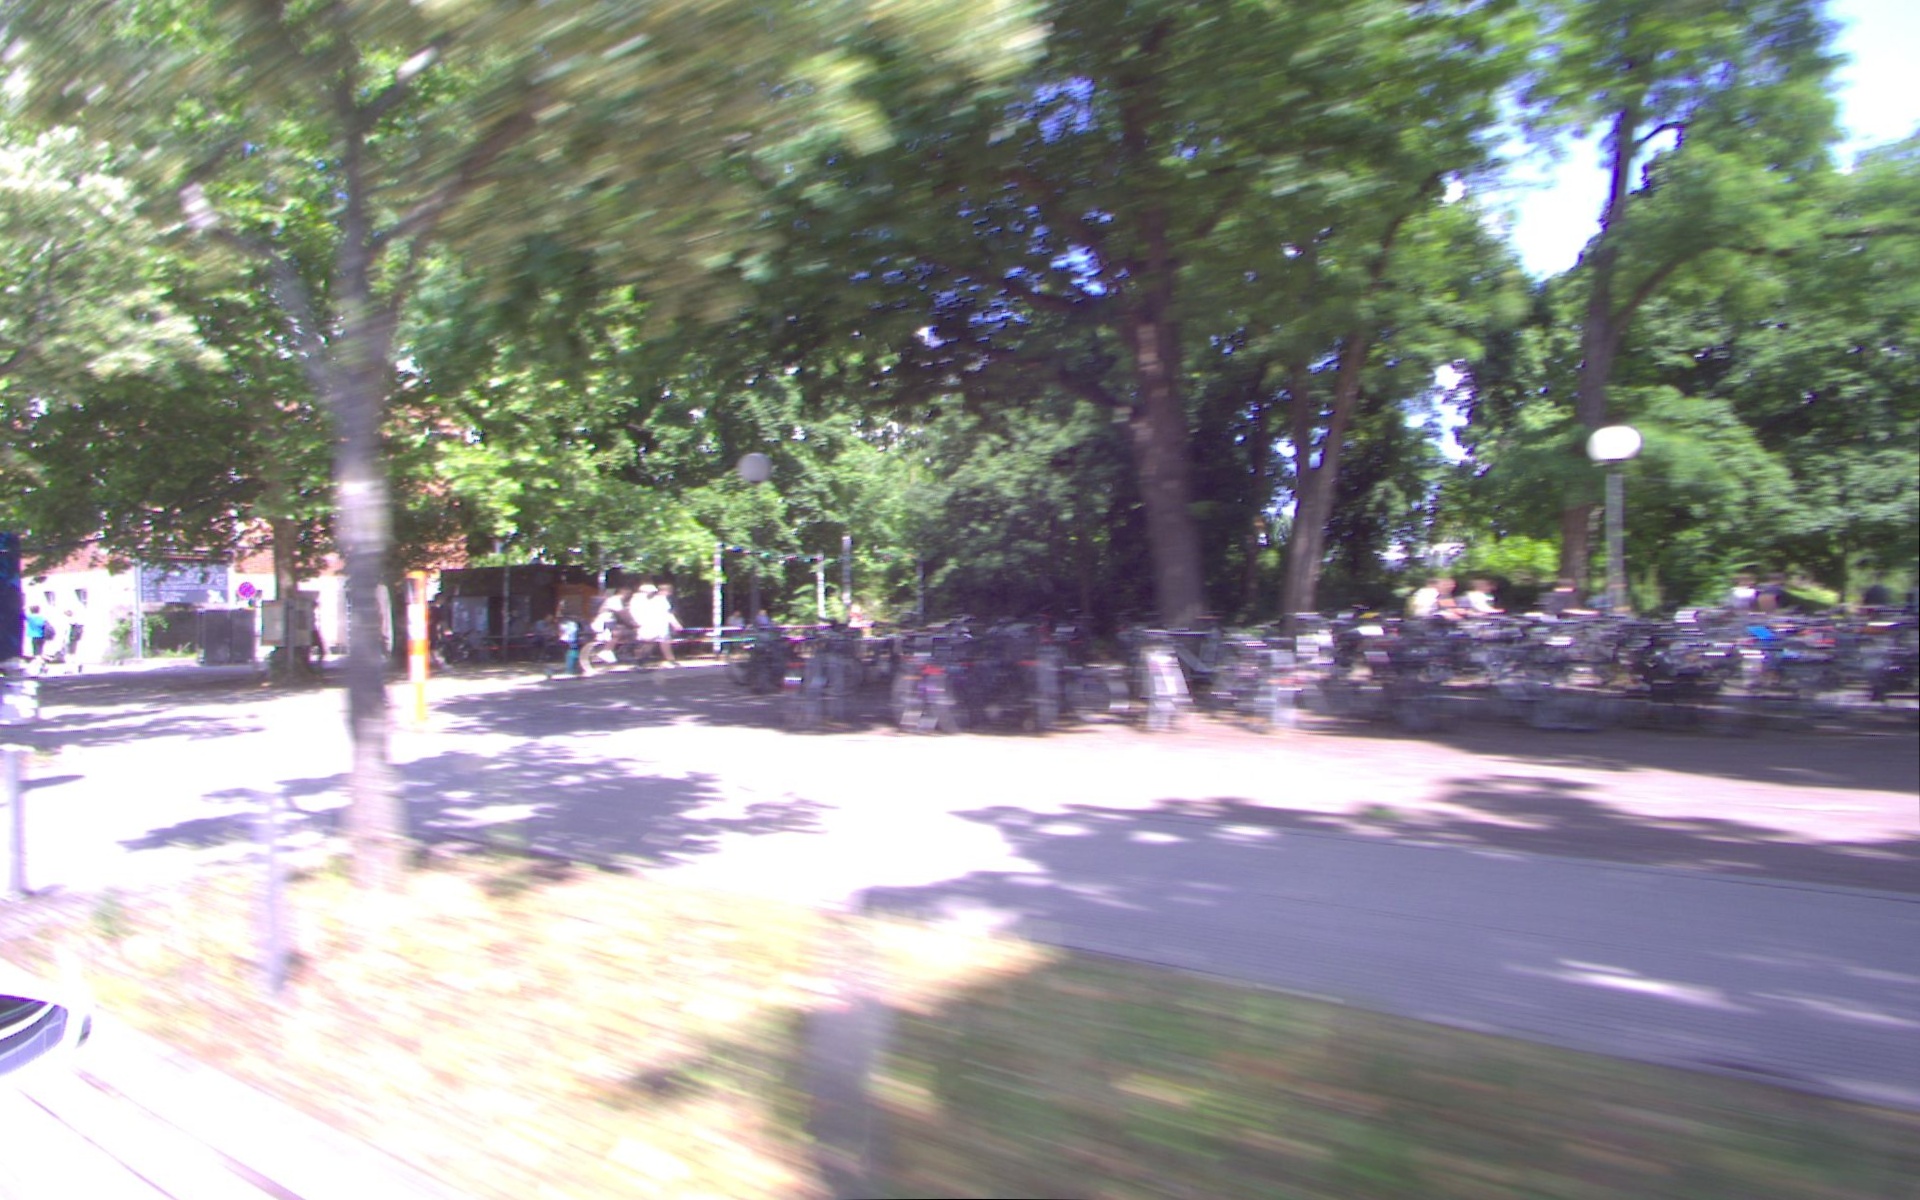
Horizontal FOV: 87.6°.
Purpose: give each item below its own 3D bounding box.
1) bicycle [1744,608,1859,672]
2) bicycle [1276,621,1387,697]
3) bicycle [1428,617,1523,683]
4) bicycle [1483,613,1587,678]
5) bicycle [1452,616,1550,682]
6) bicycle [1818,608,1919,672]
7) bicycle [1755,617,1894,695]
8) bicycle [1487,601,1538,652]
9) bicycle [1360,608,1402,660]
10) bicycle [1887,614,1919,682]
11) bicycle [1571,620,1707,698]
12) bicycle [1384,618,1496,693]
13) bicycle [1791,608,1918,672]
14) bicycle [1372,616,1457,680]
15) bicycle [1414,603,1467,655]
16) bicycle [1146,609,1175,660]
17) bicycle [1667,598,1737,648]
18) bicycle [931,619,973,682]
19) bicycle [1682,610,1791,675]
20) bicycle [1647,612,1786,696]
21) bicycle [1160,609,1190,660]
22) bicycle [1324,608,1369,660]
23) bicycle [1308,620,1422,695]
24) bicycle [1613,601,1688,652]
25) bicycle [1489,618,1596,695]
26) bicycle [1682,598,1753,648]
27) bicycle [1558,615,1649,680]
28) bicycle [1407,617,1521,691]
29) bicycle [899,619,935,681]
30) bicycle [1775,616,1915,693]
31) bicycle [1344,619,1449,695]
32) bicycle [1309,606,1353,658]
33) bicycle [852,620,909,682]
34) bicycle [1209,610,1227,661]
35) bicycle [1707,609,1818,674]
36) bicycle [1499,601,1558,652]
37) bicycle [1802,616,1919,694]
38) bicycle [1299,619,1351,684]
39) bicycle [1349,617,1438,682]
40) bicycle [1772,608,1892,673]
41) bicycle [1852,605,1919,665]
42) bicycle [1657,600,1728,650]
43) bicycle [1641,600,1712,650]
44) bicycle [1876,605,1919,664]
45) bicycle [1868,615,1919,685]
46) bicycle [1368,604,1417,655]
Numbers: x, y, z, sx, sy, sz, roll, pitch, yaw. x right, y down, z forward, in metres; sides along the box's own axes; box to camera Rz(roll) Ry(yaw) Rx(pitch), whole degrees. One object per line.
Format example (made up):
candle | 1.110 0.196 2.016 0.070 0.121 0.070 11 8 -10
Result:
bicycle | 14.001 0.641 16.730 0.371 0.992 1.903 -1 0 2
bicycle | 5.350 0.823 14.545 0.470 0.992 1.900 -1 0 -16
bicycle | 8.480 0.797 16.558 0.371 0.992 1.903 -1 0 -7
bicycle | 9.601 0.736 16.799 0.469 0.992 1.903 -1 0 -7
bicycle | 8.891 0.776 16.541 0.371 0.992 1.903 -1 0 -7
bicycle | 15.356 0.642 16.774 0.371 0.992 1.903 -1 0 2
bicycle | 12.210 0.760 14.219 0.371 0.992 1.903 -1 0 2
bicycle | 12.581 0.583 22.837 0.341 1.108 1.611 -1 0 3
bicycle | 9.447 0.751 22.506 0.341 1.108 1.611 -1 0 3
bicycle | 14.460 0.711 14.261 0.372 0.992 1.900 -1 0 -18
bicycle | 9.674 0.813 14.357 0.469 0.992 1.903 -1 0 -7
bicycle | 7.019 0.776 14.751 0.469 0.992 1.902 -1 0 -10
bicycle | 14.947 0.636 16.793 0.469 0.992 1.903 -1 0 2
bicycle | 7.682 0.789 17.007 0.371 0.992 1.903 -1 0 -7
bicycle | 10.826 0.633 22.606 0.469 1.108 1.611 -1 0 3
bicycle | 4.600 0.775 23.073 0.469 1.108 1.753 -1 0 6
bicycle | 17.392 0.521 23.508 0.341 1.108 1.610 -1 0 -6
bicycle | -0.120 0.854 17.586 0.469 0.992 1.903 -1 0 7
bicycle | 12.879 0.677 16.674 0.371 0.992 1.903 -1 0 2
bicycle | 10.853 0.736 14.452 0.469 1.097 1.903 -1 0 -4
bicycle | 4.941 0.768 23.042 0.469 1.108 1.753 -1 0 6
bicycle | 8.796 0.753 22.828 0.469 1.108 1.611 -1 0 3
bicycle | 5.893 0.812 14.703 0.470 0.992 1.900 -1 0 -16
bicycle | 15.689 0.582 22.801 0.469 1.108 1.610 -1 0 -6
bicycle | 8.346 0.780 14.437 0.469 0.992 1.903 -1 0 2
bicycle | 17.760 0.522 23.512 0.341 1.108 1.610 -1 0 -6
bicycle | 10.855 0.774 16.964 0.371 0.992 1.903 -1 0 2
bicycle | 7.407 0.765 14.815 0.469 0.992 1.902 -1 0 -10
bicycle | -0.742 0.862 17.756 0.413 0.992 1.903 -1 0 4
bicycle | 12.622 0.744 14.356 0.371 0.992 1.903 -1 0 2
bicycle | 6.398 0.805 14.770 0.469 0.992 1.902 -1 0 -9
bicycle | 8.422 0.712 22.790 0.469 1.108 1.611 -1 0 3
bicycle | -1.387 0.874 17.797 0.469 0.992 1.902 -1 0 12
bicycle | 5.974 0.801 23.173 0.341 1.108 1.609 -1 0 13
bicycle | 13.286 0.662 16.646 0.371 0.992 1.903 -1 0 2
bicycle | 12.932 0.578 22.821 0.469 1.108 1.611 -1 0 3
bicycle | 13.014 0.751 14.338 0.371 0.992 1.903 -1 0 2
bicycle | 6.140 0.835 16.927 0.434 0.992 1.903 -1 0 8
bicycle | 7.253 0.796 16.840 0.469 0.992 1.903 -1 0 -7
bicycle | 14.398 0.640 16.601 0.371 0.992 1.903 -1 0 2
bicycle | 16.101 0.583 16.942 0.371 0.992 1.903 -1 0 2
bicycle | 16.820 0.551 23.033 0.341 1.108 1.610 -1 0 -6
bicycle | 16.441 0.558 23.016 0.341 1.108 1.610 -1 0 -6
bicycle | 16.516 0.585 16.927 0.371 0.992 1.903 -1 0 2
bicycle | 14.041 0.725 14.117 0.372 0.992 1.900 -1 0 -18
bicycle | 9.808 0.647 22.742 0.469 1.108 1.611 -1 0 3
